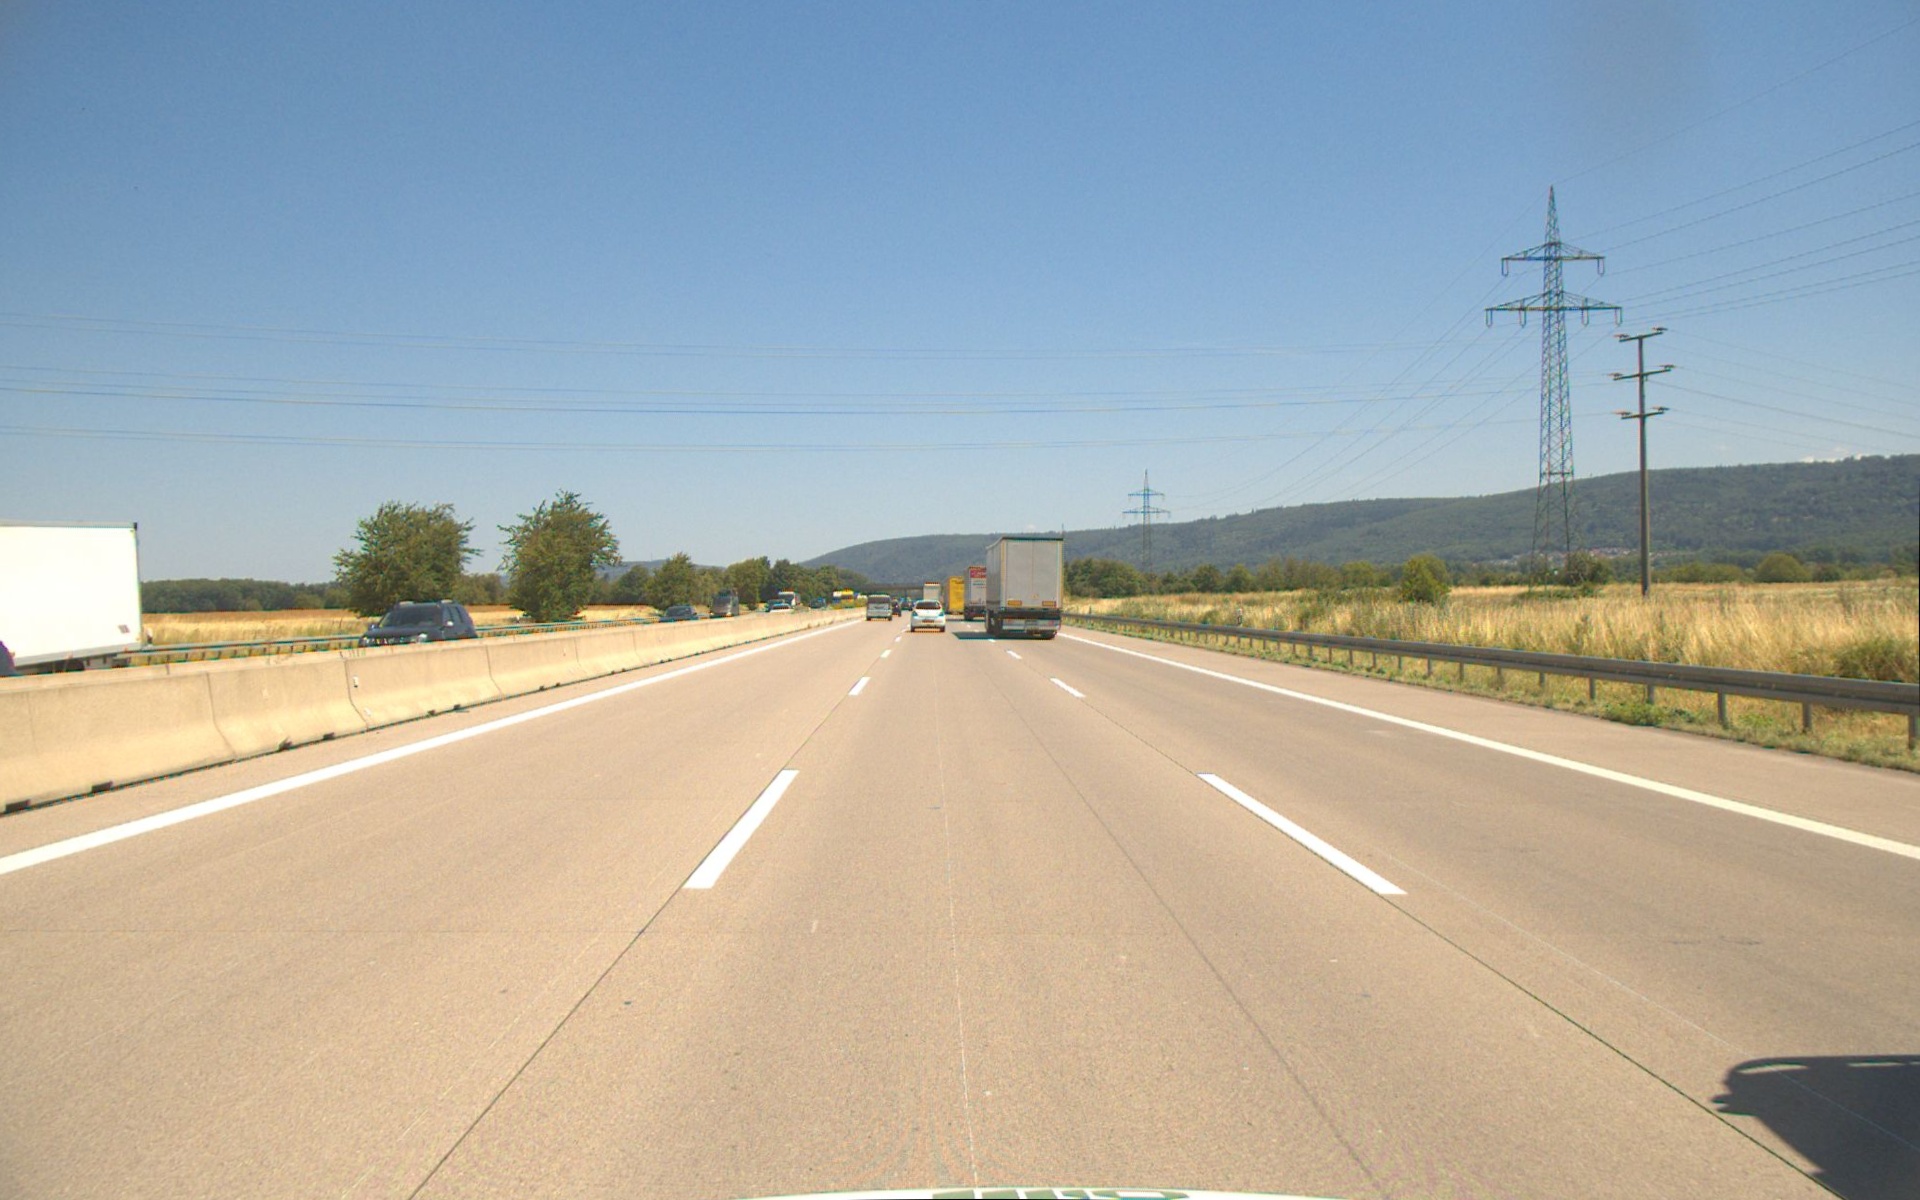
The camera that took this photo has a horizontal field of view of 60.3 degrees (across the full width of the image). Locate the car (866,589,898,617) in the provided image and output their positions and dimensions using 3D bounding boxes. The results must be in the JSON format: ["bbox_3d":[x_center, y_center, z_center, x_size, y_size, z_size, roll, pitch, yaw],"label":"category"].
[{"bbox_3d":[-5.861,0.188,125.089,2.208,2.049,4.297,1,0,0],"label":"car"}]

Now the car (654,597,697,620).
[{"bbox_3d":[-13.943,0.389,81.274,1.490,1.071,3.523,1,0,0],"label":"car"}]

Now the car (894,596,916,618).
[{"bbox_3d":[-5.230,0.663,156.669,1.953,1.991,3.999,1,0,-1],"label":"car"}]

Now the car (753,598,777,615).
[{"bbox_3d":[-21.202,0.711,180.040,2.126,1.821,3.999,1,0,0],"label":"car"}]

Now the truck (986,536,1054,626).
[{"bbox_3d":[2.832,-0.887,79.830,2.924,4.133,5.476,1,0,-1],"label":"truck"}]

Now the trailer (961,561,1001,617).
[{"bbox_3d":[1.574,-0.828,130.143,2.815,4.172,13.511,1,0,0],"label":"trailer"}]

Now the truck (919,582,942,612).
[{"bbox_3d":[-4.368,-0.458,247.378,3.285,4.347,8.227,1,0,-1],"label":"truck"}]

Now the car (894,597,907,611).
[{"bbox_3d":[-8.603,0.586,239.148,1.747,1.914,3.999,1,0,-1],"label":"car"}]

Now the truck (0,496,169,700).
[{"bbox_3d":[-16.293,-0.032,27.645,2.495,3.197,7.920,0,0,-1],"label":"truck"}]

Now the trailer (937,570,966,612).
[{"bbox_3d":[-1.026,-1.035,191.571,3.150,4.643,13.454,1,0,-1],"label":"trailer"}]

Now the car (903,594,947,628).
[{"bbox_3d":[-1.691,0.521,80.919,2.064,1.563,4.122,1,0,0],"label":"car"}]

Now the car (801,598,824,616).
[{"bbox_3d":[-15.939,0.716,179.525,1.953,1.858,5.824,1,0,0],"label":"car"}]

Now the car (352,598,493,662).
[{"bbox_3d":[-12.385,0.659,38.427,1.808,1.375,4.493,0,0,0],"label":"car"}]

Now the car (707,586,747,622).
[{"bbox_3d":[-18.730,0.322,133.207,2.202,2.835,6.791,1,0,0],"label":"car"}]

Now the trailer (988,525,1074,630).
[{"bbox_3d":[2.917,-0.884,72.467,2.956,4.132,14.204,1,0,-1],"label":"trailer"}]

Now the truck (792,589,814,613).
[{"bbox_3d":[-22.662,0.100,238.340,2.749,3.362,5.612,1,0,-2],"label":"truck"}]

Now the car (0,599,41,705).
[{"bbox_3d":[-11.637,0.589,17.929,1.511,1.183,3.374,1,0,-1],"label":"car"}]
